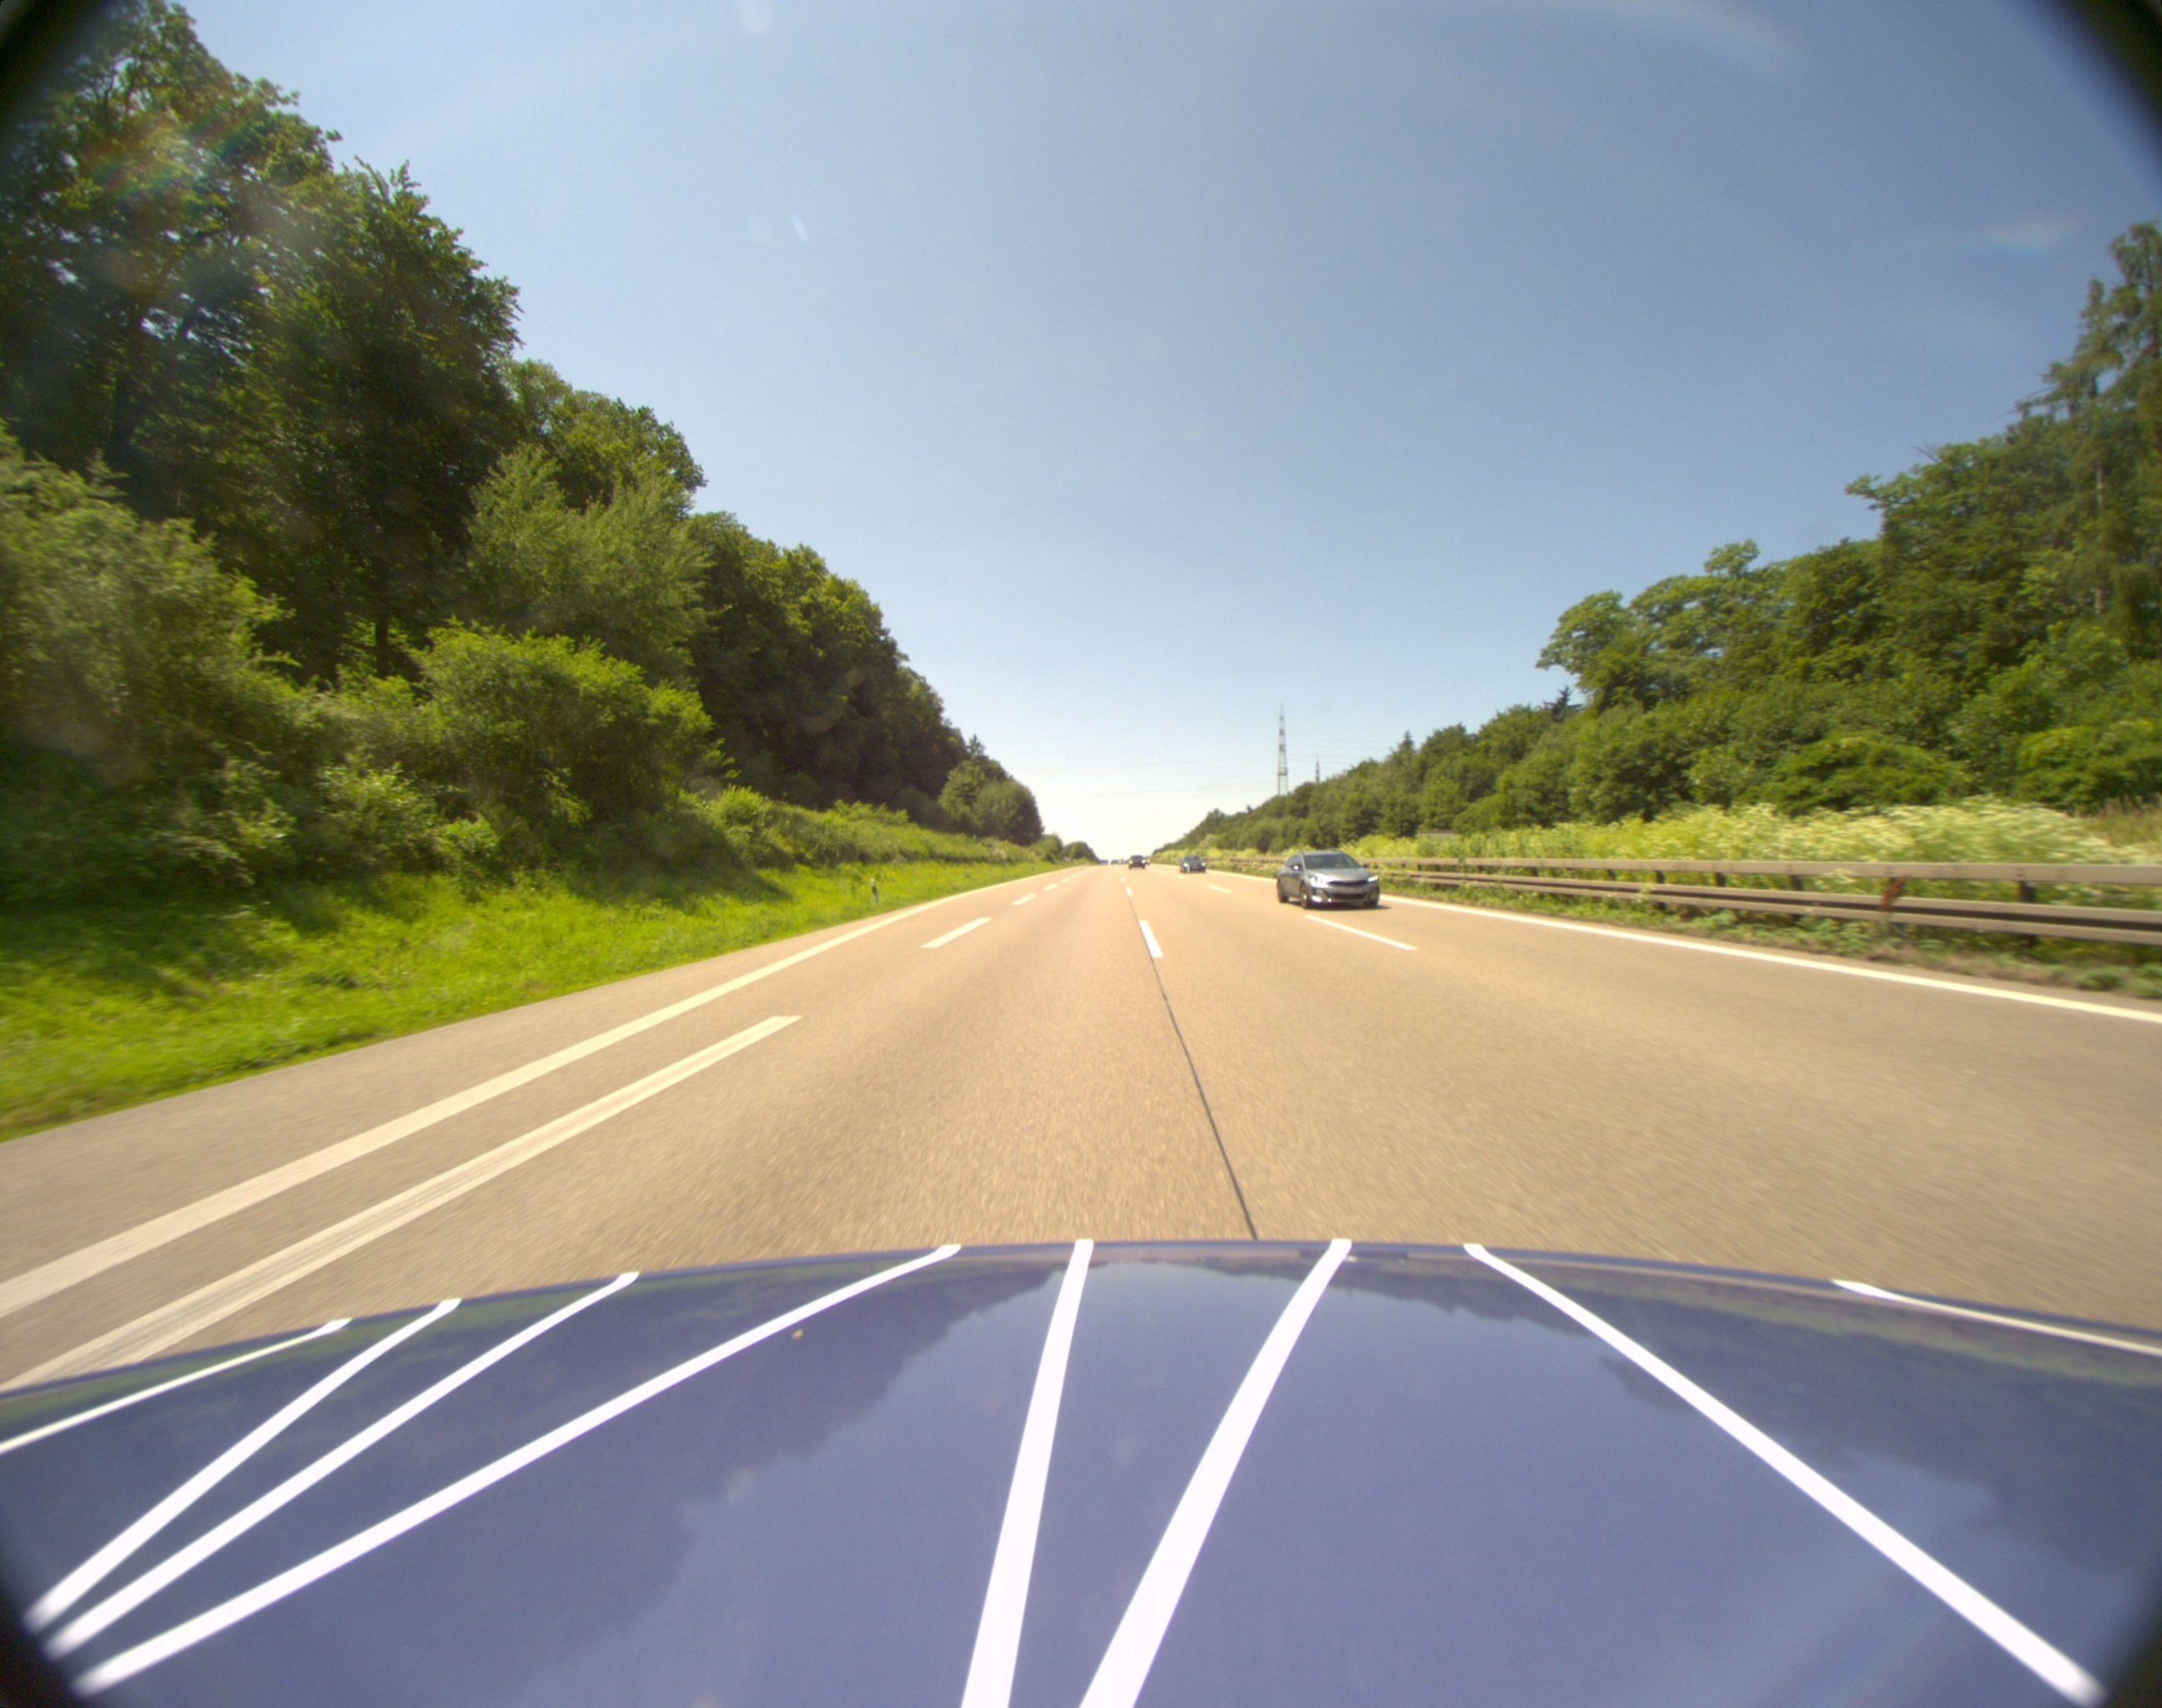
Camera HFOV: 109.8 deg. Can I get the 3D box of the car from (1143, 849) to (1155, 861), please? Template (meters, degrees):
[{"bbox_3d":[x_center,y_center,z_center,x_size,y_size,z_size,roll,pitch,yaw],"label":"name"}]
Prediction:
[{"bbox_3d":[12.128,0.136,135.164,1.875,2.002,4.000,-2,0,2],"label":"car"}]

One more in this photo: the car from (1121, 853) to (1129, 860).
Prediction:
[{"bbox_3d":[12.715,0.672,218.619,1.998,2.002,4.000,-2,0,1],"label":"car"}]

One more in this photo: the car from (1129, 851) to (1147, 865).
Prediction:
[{"bbox_3d":[6.610,0.462,87.974,1.787,1.550,3.943,-2,0,1],"label":"car"}]

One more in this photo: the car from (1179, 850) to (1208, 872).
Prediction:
[{"bbox_3d":[8.879,0.529,60.296,1.741,1.610,3.943,-2,0,1],"label":"car"}]

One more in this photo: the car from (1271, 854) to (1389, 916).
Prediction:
[{"bbox_3d":[6.435,0.731,20.111,1.768,1.400,3.999,-2,0,0],"label":"car"}]
